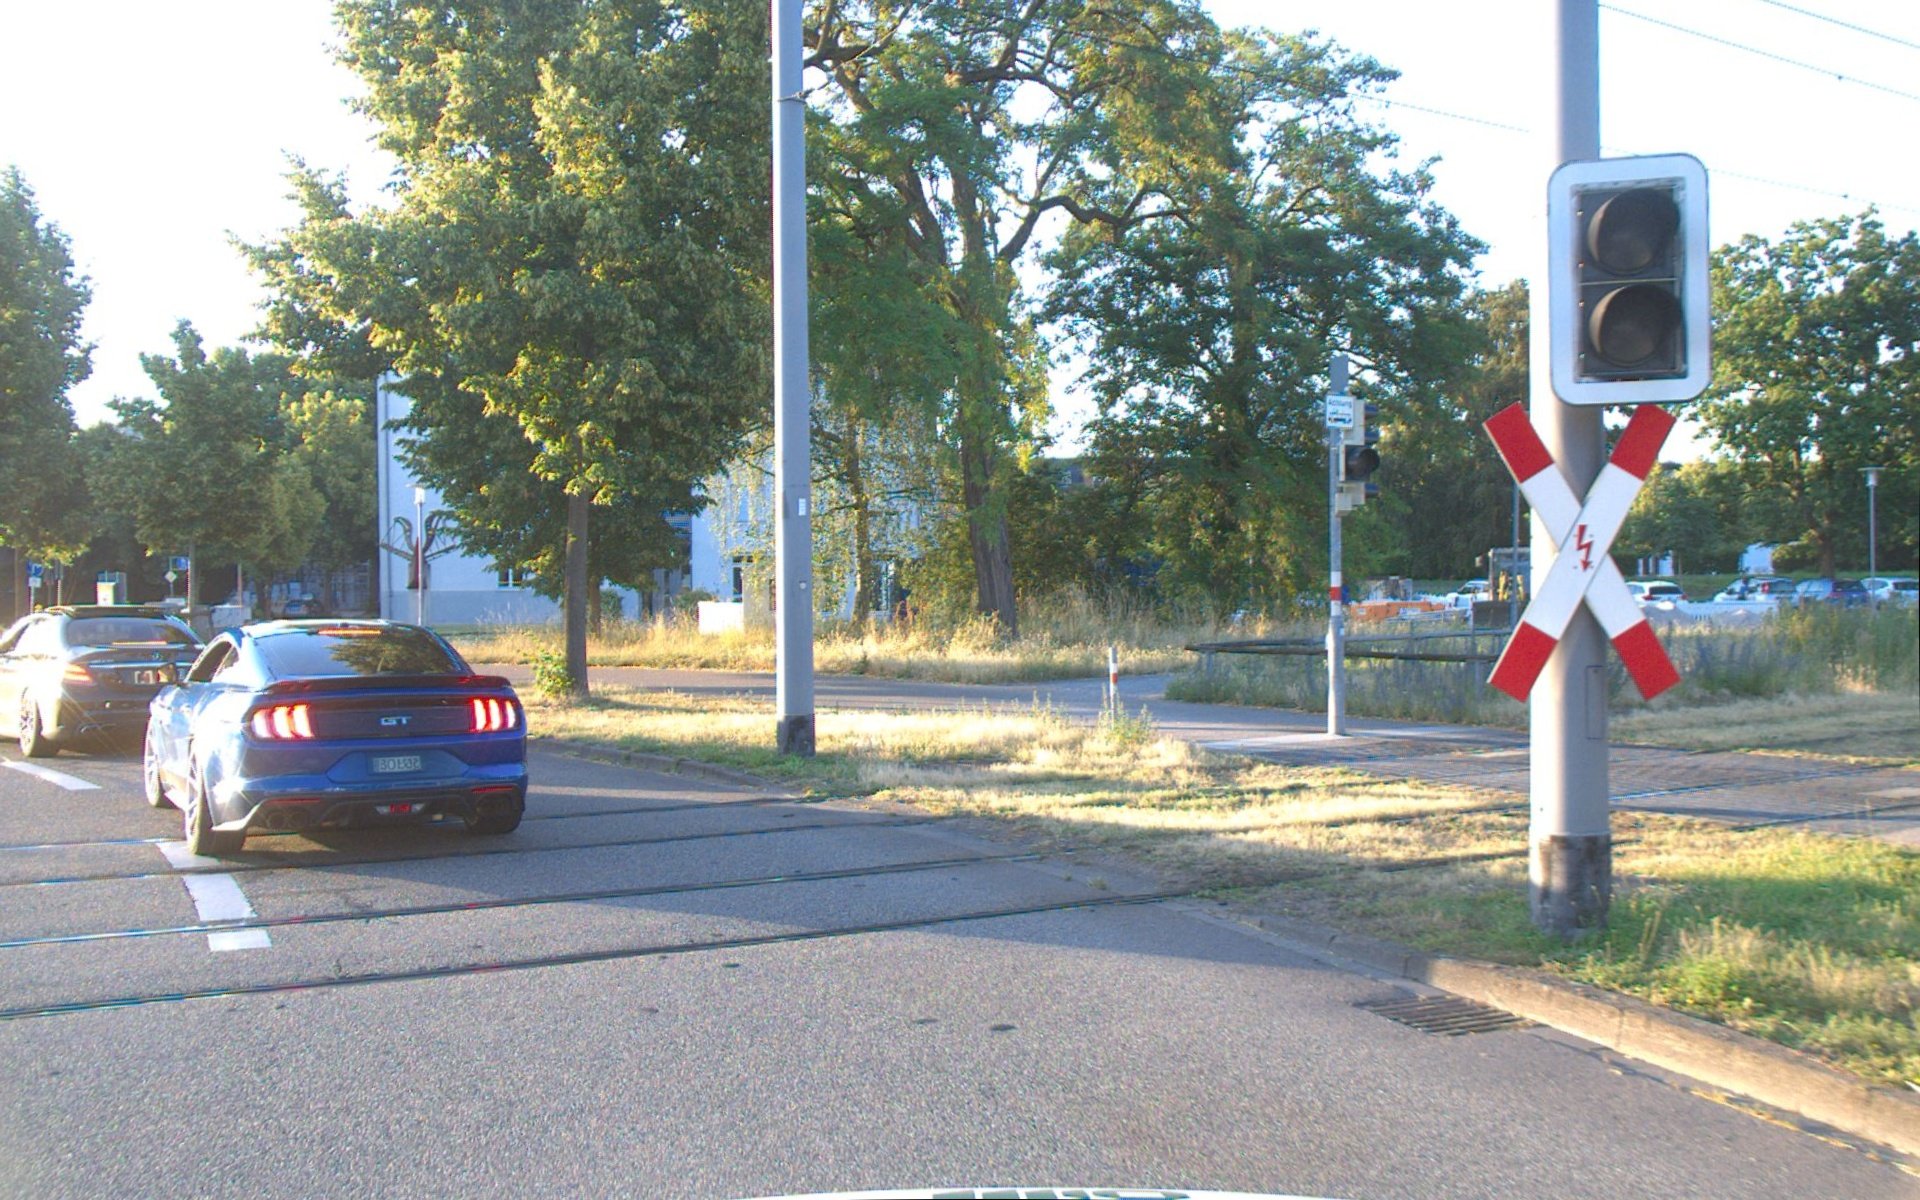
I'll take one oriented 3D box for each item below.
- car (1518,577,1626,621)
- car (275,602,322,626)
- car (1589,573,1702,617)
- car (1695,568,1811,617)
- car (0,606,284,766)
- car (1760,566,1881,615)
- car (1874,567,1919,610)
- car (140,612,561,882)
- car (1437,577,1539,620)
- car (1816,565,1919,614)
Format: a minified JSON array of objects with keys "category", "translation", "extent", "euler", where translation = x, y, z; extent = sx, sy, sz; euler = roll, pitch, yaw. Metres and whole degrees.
[{"category":"car","translation":[21.941,-0.038,59.411],"extent":[1.911,1.471,3.991],"euler":[-1,0,-9]},{"category":"car","translation":[-41.445,0.872,103.679],"extent":[1.840,1.426,3.910],"euler":[-1,1,-8]},{"category":"car","translation":[24.543,-0.182,59.355],"extent":[1.911,1.471,3.991],"euler":[-1,0,-9]},{"category":"car","translation":[29.057,-0.270,60.731],"extent":[1.911,1.691,3.991],"euler":[-1,0,-9]},{"category":"car","translation":[-8.897,0.788,17.266],"extent":[1.943,1.452,4.357],"euler":[0,0,-44]},{"category":"car","translation":[31.421,-0.345,60.504],"extent":[1.911,1.691,3.991],"euler":[-1,0,-9]},{"category":"car","translation":[36.184,-0.440,61.438],"extent":[1.862,1.581,3.991],"euler":[-1,0,-9]},{"category":"car","translation":[-4.290,0.785,11.121],"extent":[1.931,1.365,4.623],"euler":[0,0,-30]},{"category":"car","translation":[18.909,-0.063,59.403],"extent":[1.911,1.471,3.991],"euler":[-1,0,-9]},{"category":"car","translation":[33.602,-0.385,60.666],"extent":[1.911,1.691,3.991],"euler":[-1,0,-9]}]
